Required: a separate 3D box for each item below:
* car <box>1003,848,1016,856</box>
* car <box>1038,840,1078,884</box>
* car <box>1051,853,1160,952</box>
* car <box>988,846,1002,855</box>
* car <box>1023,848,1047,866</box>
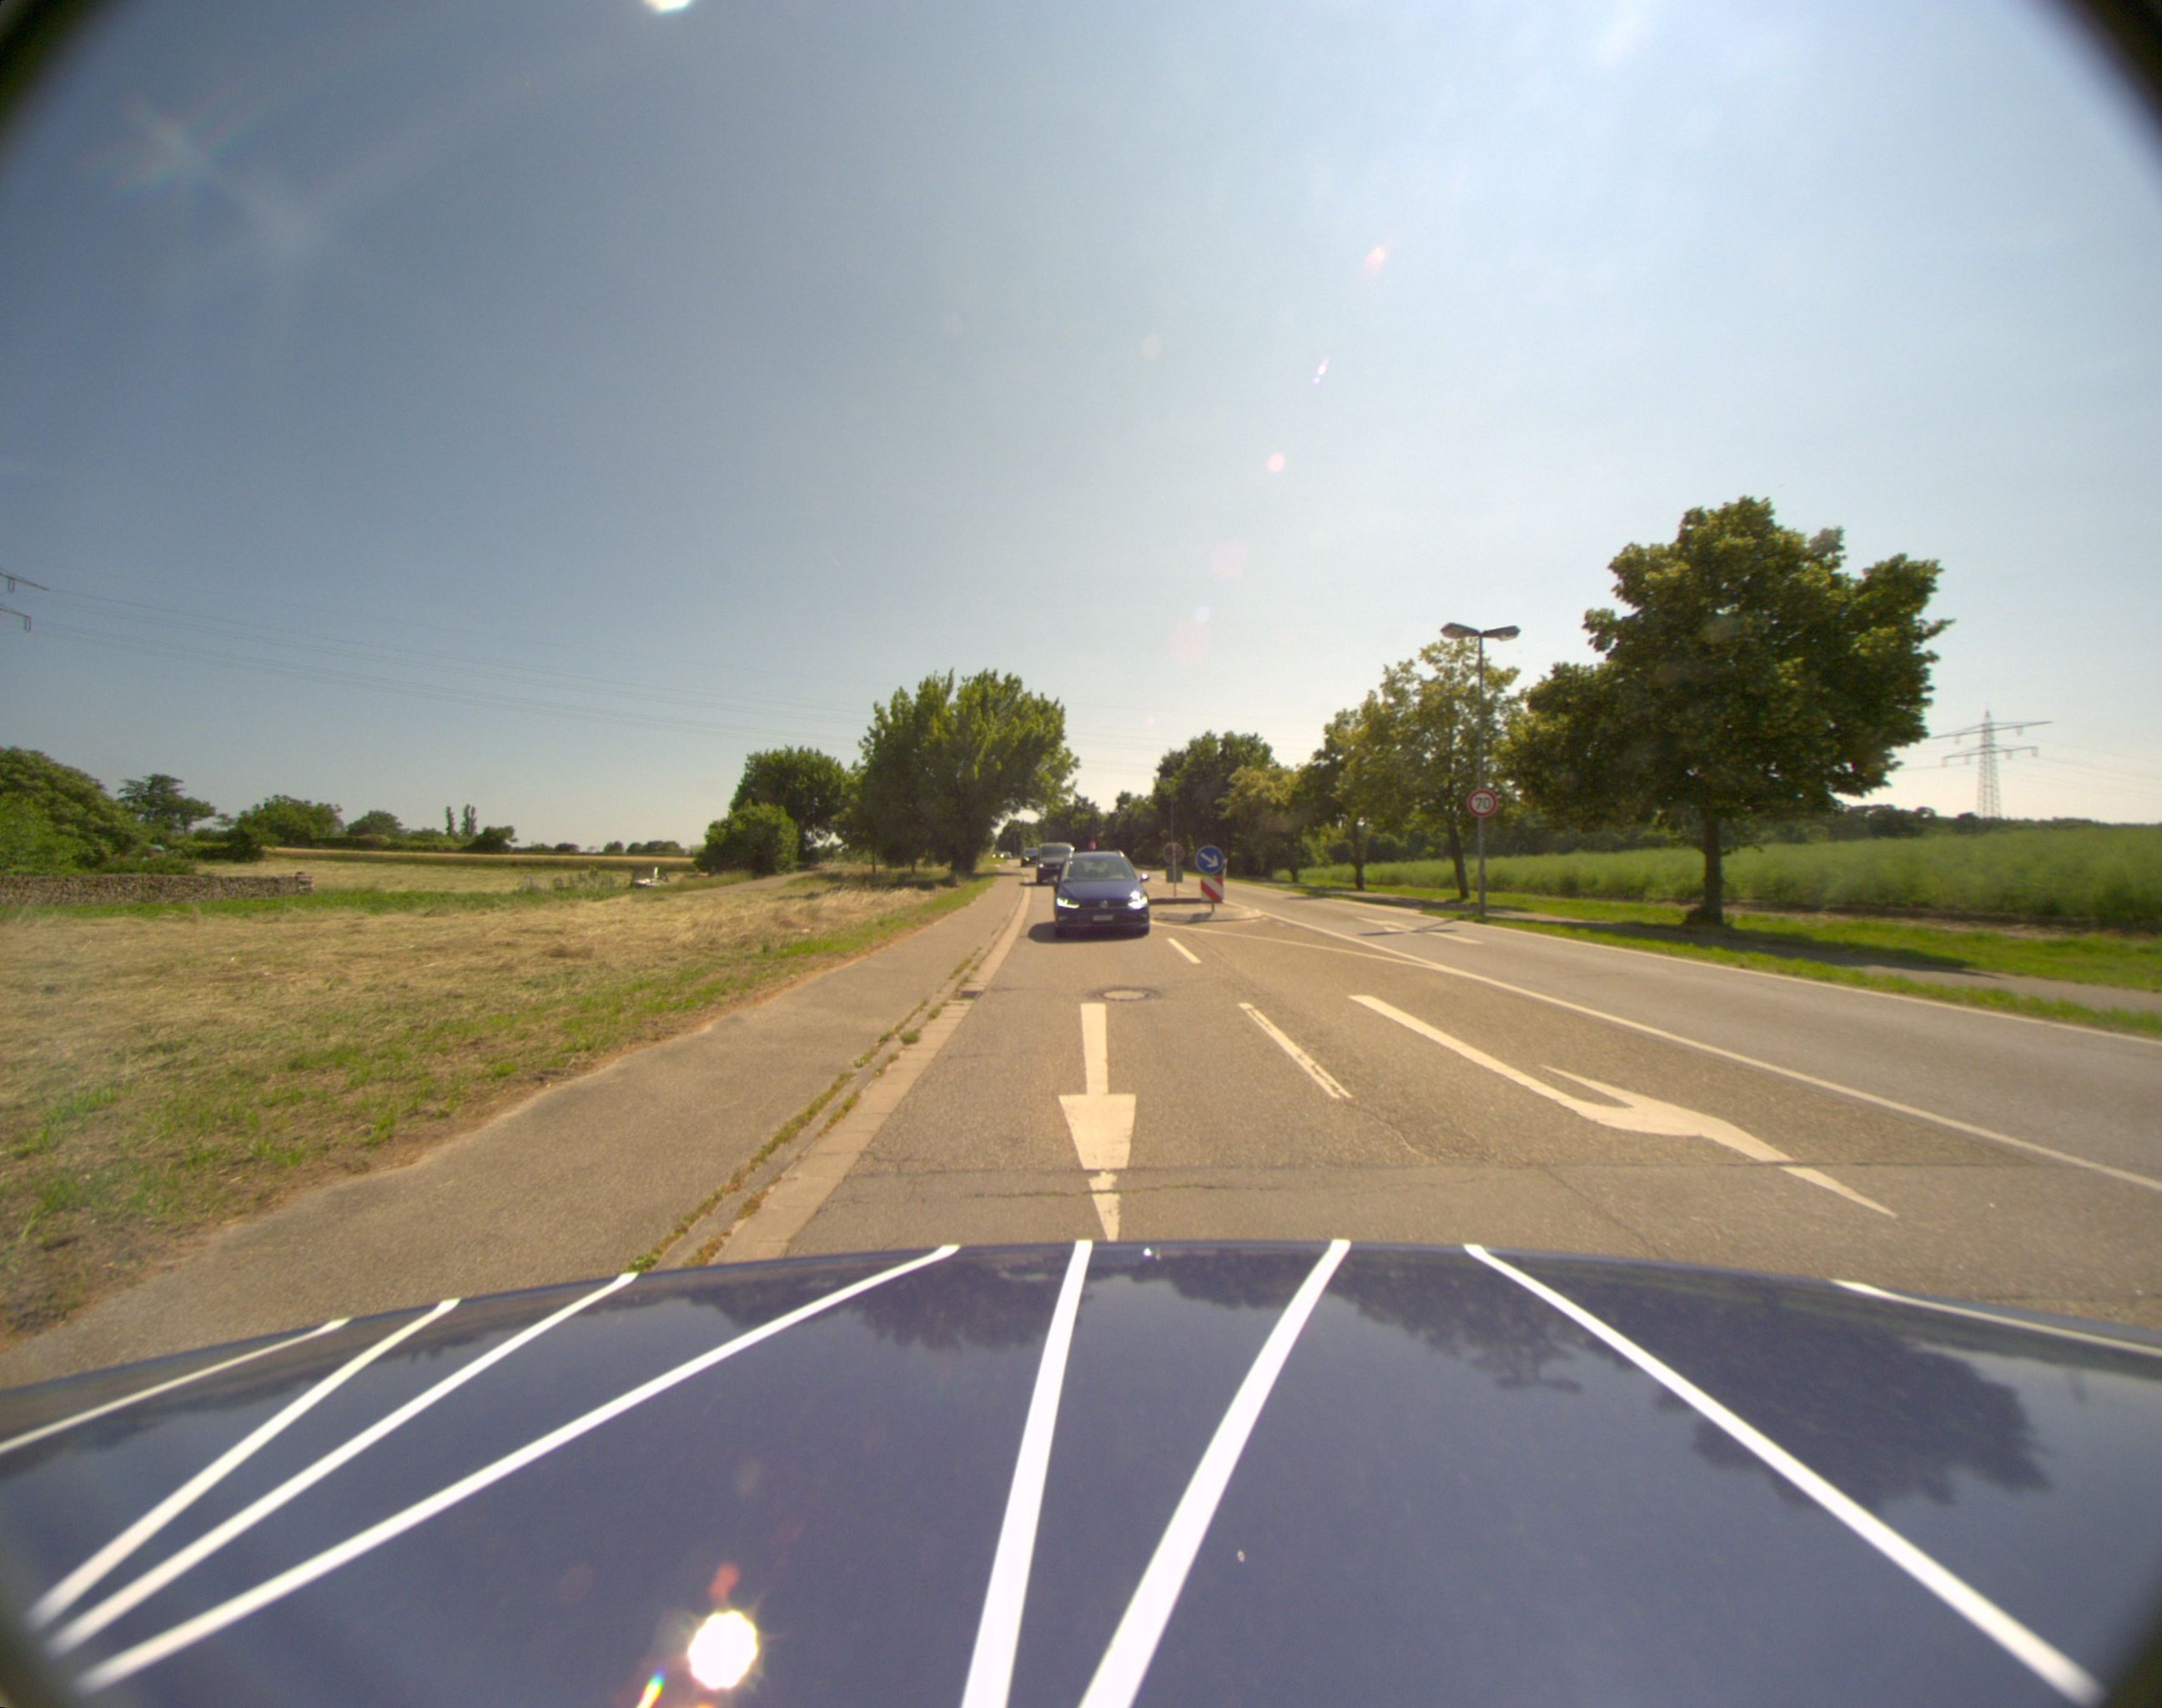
[{"bbox_3d":[-14.012,-0.412,148.733,1.883,1.563,4.466,-1,0,-14],"label":"car"},{"bbox_3d":[-1.122,0.377,37.082,1.765,1.954,4.260,-2,0,-2],"label":"car"},{"bbox_3d":[0.354,0.799,14.793,1.765,1.520,4.421,-2,1,-1],"label":"car"},{"bbox_3d":[-15.061,-0.651,133.070,2.000,1.522,3.996,-1,0,-10],"label":"car"},{"bbox_3d":[-4.104,0.270,67.557,1.766,1.530,3.681,-1,0,-9],"label":"car"}]
